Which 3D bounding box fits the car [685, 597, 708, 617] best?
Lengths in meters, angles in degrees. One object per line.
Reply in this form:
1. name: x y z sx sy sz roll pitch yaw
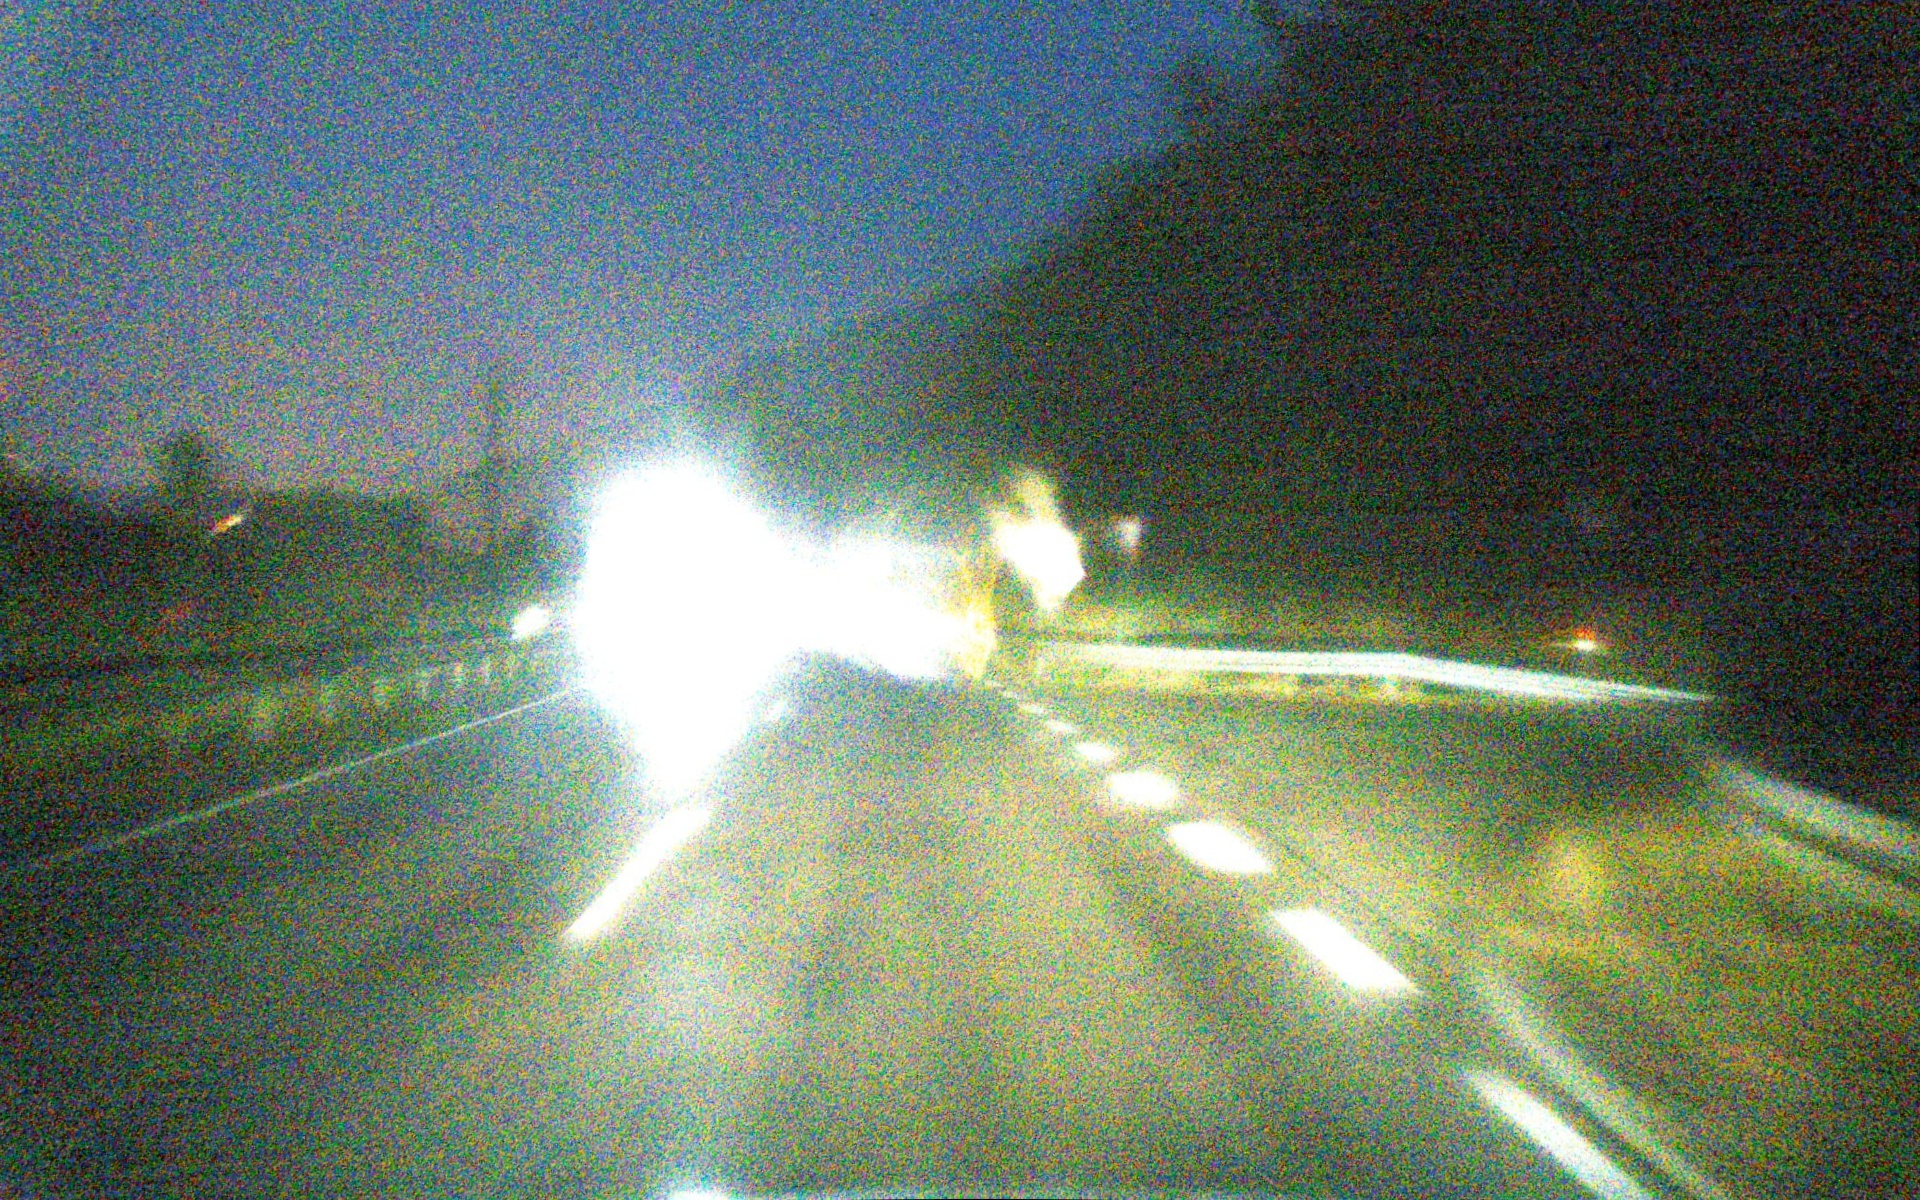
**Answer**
1. car: -20.183 0.540 126.683 1.671 1.532 3.674 0 0 -11
